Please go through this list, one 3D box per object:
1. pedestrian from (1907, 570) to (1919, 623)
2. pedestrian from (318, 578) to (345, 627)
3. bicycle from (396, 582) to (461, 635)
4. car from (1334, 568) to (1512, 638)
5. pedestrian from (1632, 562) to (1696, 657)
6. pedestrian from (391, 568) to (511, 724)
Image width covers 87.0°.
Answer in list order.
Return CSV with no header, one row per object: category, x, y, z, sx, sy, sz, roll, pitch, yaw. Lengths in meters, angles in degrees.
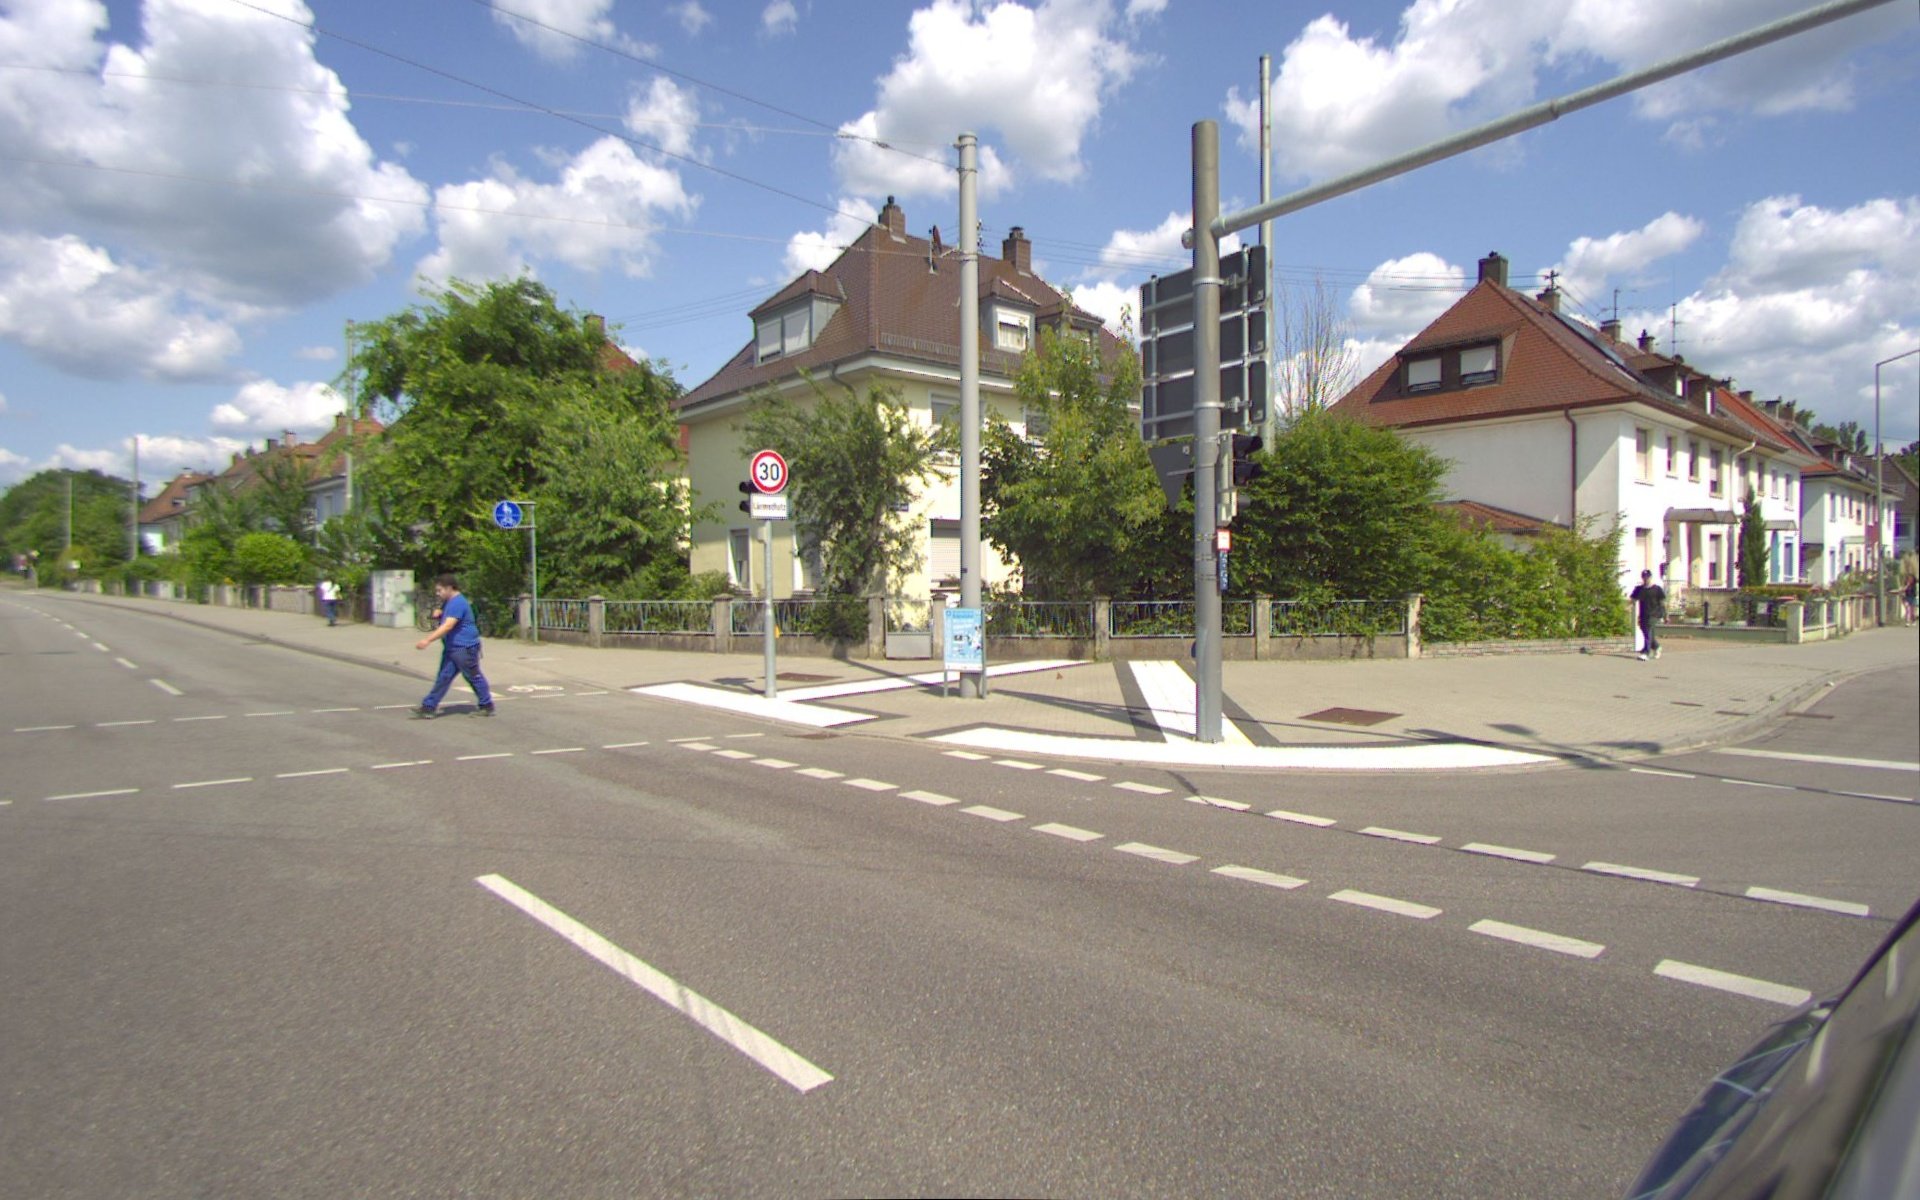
pedestrian,31.175,-0.118,32.868,0.607,1.732,0.518,-1,1,-40
pedestrian,-19.053,0.065,30.665,0.674,1.450,0.515,-1,1,-33
bicycle,-14.484,0.199,27.536,2.790,1.351,0.614,1,2,42
car,12.428,0.024,27.368,1.834,1.729,3.997,-1,2,-39
pedestrian,13.553,0.165,19.489,0.918,1.790,0.594,0,1,-23
pedestrian,-6.101,0.502,12.130,1.030,1.756,1.024,1,1,45
